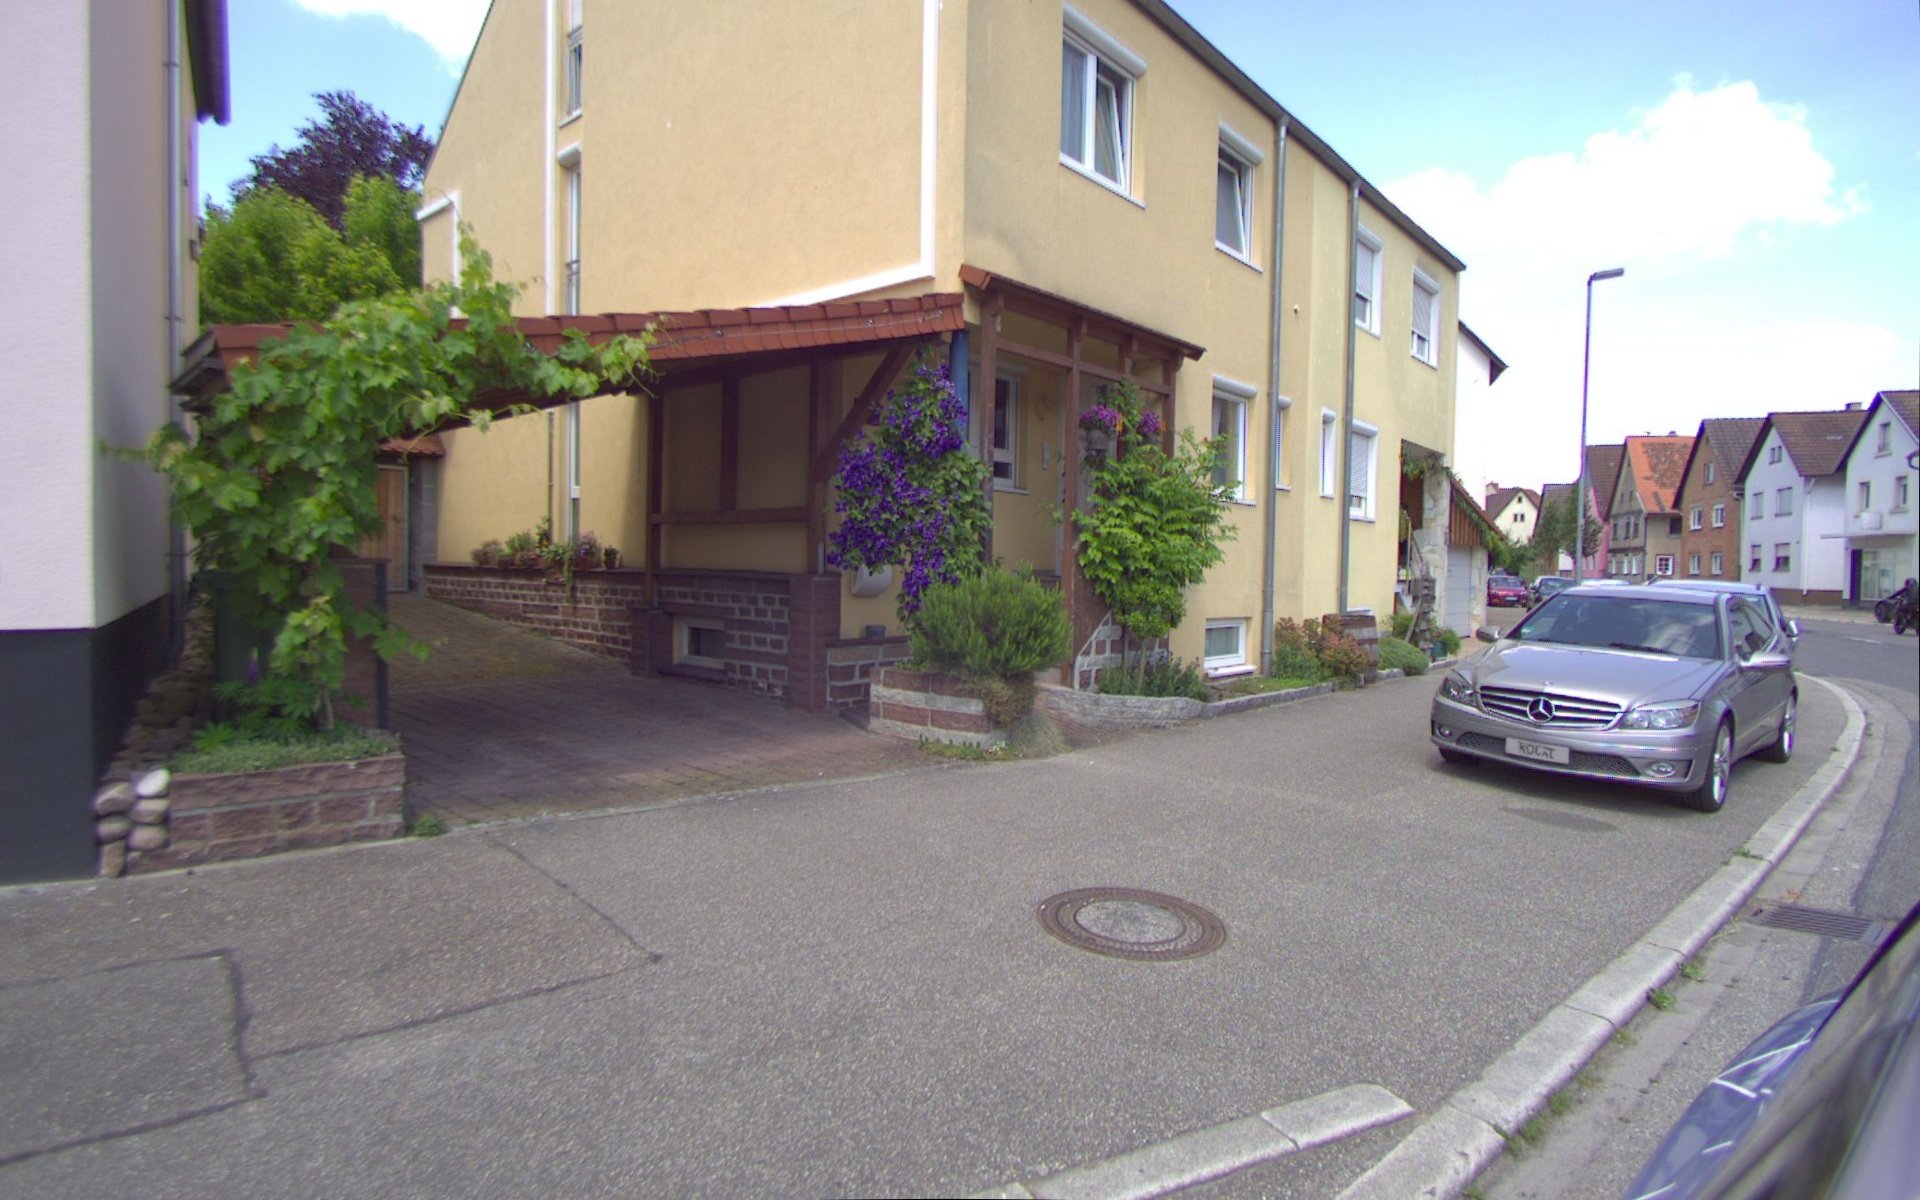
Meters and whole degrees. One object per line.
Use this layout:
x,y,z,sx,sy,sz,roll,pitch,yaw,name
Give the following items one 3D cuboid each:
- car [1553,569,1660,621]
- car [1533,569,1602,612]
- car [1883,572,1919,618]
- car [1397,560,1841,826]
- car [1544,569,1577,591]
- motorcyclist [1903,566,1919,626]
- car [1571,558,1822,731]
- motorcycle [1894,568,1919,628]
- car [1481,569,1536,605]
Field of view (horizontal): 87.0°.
20.366,-0.208,32.068,1.704,1.402,3.983,1,3,15,car
23.186,-0.349,38.754,1.754,1.549,3.967,1,0,24,car
31.039,-0.152,31.566,1.789,1.438,4.518,0,1,22,car
5.314,0.454,7.913,4.349,1.416,1.774,-3,6,-42,car
46.479,-1.547,78.392,1.664,1.548,3.475,0,3,21,car
25.654,-0.101,26.716,0.890,1.574,0.800,1,1,25,motorcyclist
8.668,0.347,11.759,1.884,1.548,4.271,5,5,41,car
25.626,-0.056,26.681,0.874,1.580,1.951,1,1,25,motorcycle
26.526,-0.654,49.062,1.644,1.668,3.976,-1,1,19,car
